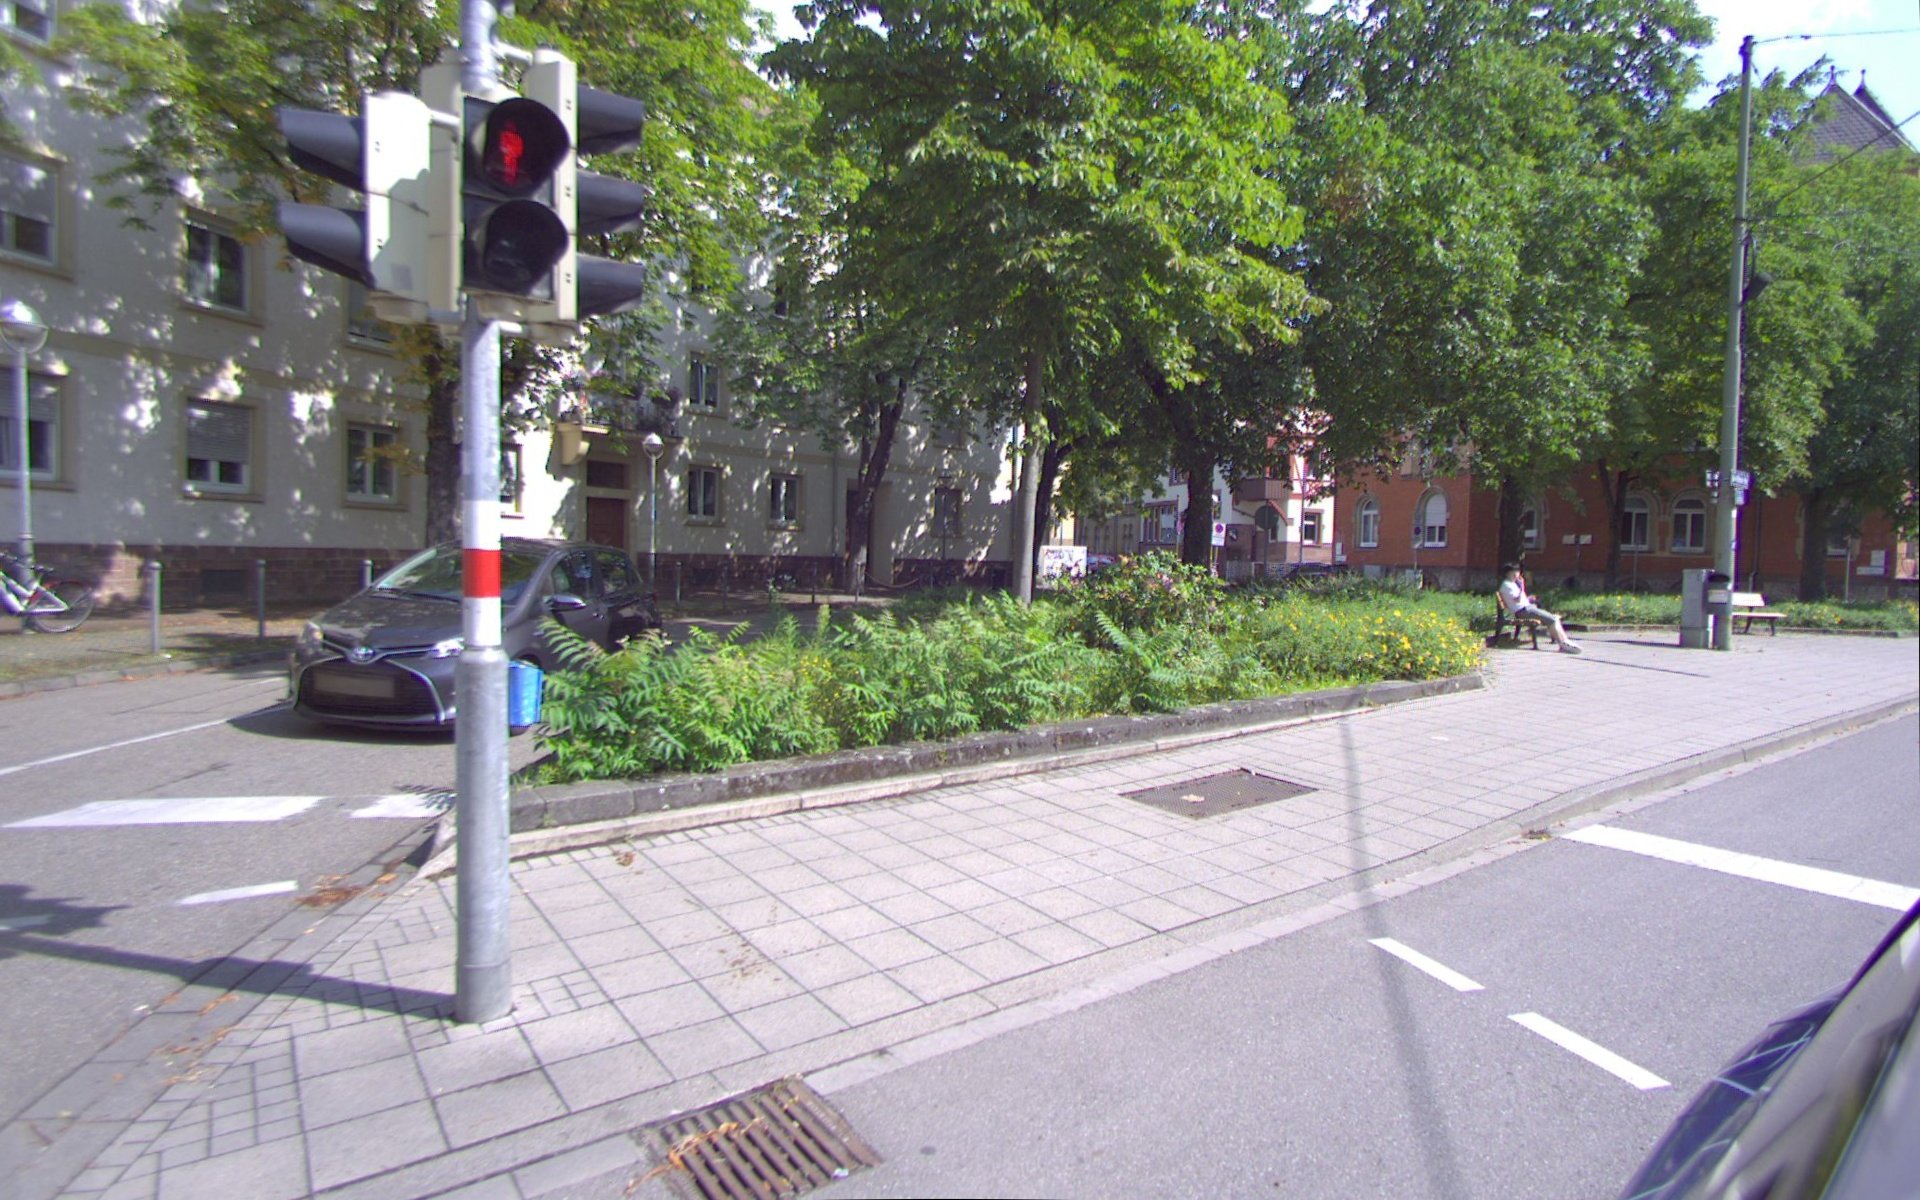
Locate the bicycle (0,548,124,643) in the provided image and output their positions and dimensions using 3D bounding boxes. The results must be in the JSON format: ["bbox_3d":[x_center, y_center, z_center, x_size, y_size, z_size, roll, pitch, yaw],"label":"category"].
[{"bbox_3d":[-10.873,-0.072,11.788,0.559,1.032,1.745,4,3,16],"label":"bicycle"}]

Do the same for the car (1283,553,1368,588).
[{"bbox_3d":[16.935,-1.388,47.130,1.896,1.503,4.009,1,3,-11],"label":"car"}]

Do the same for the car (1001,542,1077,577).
[{"bbox_3d":[4.541,-2.340,58.425,3.916,1.882,1.853,0,3,-16],"label":"car"}]

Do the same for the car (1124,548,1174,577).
[{"bbox_3d":[12.136,-2.435,65.243,1.689,1.726,4.010,1,3,-13],"label":"car"}]

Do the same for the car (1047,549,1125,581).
[{"bbox_3d":[6.005,-1.674,48.335,3.342,1.439,1.567,0,2,-17],"label":"car"}]

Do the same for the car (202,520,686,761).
[{"bbox_3d":[-4.066,0.174,8.890,1.819,1.528,4.167,3,3,6],"label":"car"}]

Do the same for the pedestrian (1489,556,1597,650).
[{"bbox_3d":[8.628,0.022,15.003,0.548,1.284,1.195,-1,5,-40],"label":"pedestrian"}]

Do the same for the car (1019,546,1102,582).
[{"bbox_3d":[5.322,-1.918,53.937,3.916,1.815,1.983,1,2,-15],"label":"car"}]

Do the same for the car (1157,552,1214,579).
[{"bbox_3d":[13.445,-2.070,60.516,1.831,1.503,4.009,1,3,-11],"label":"car"}]
